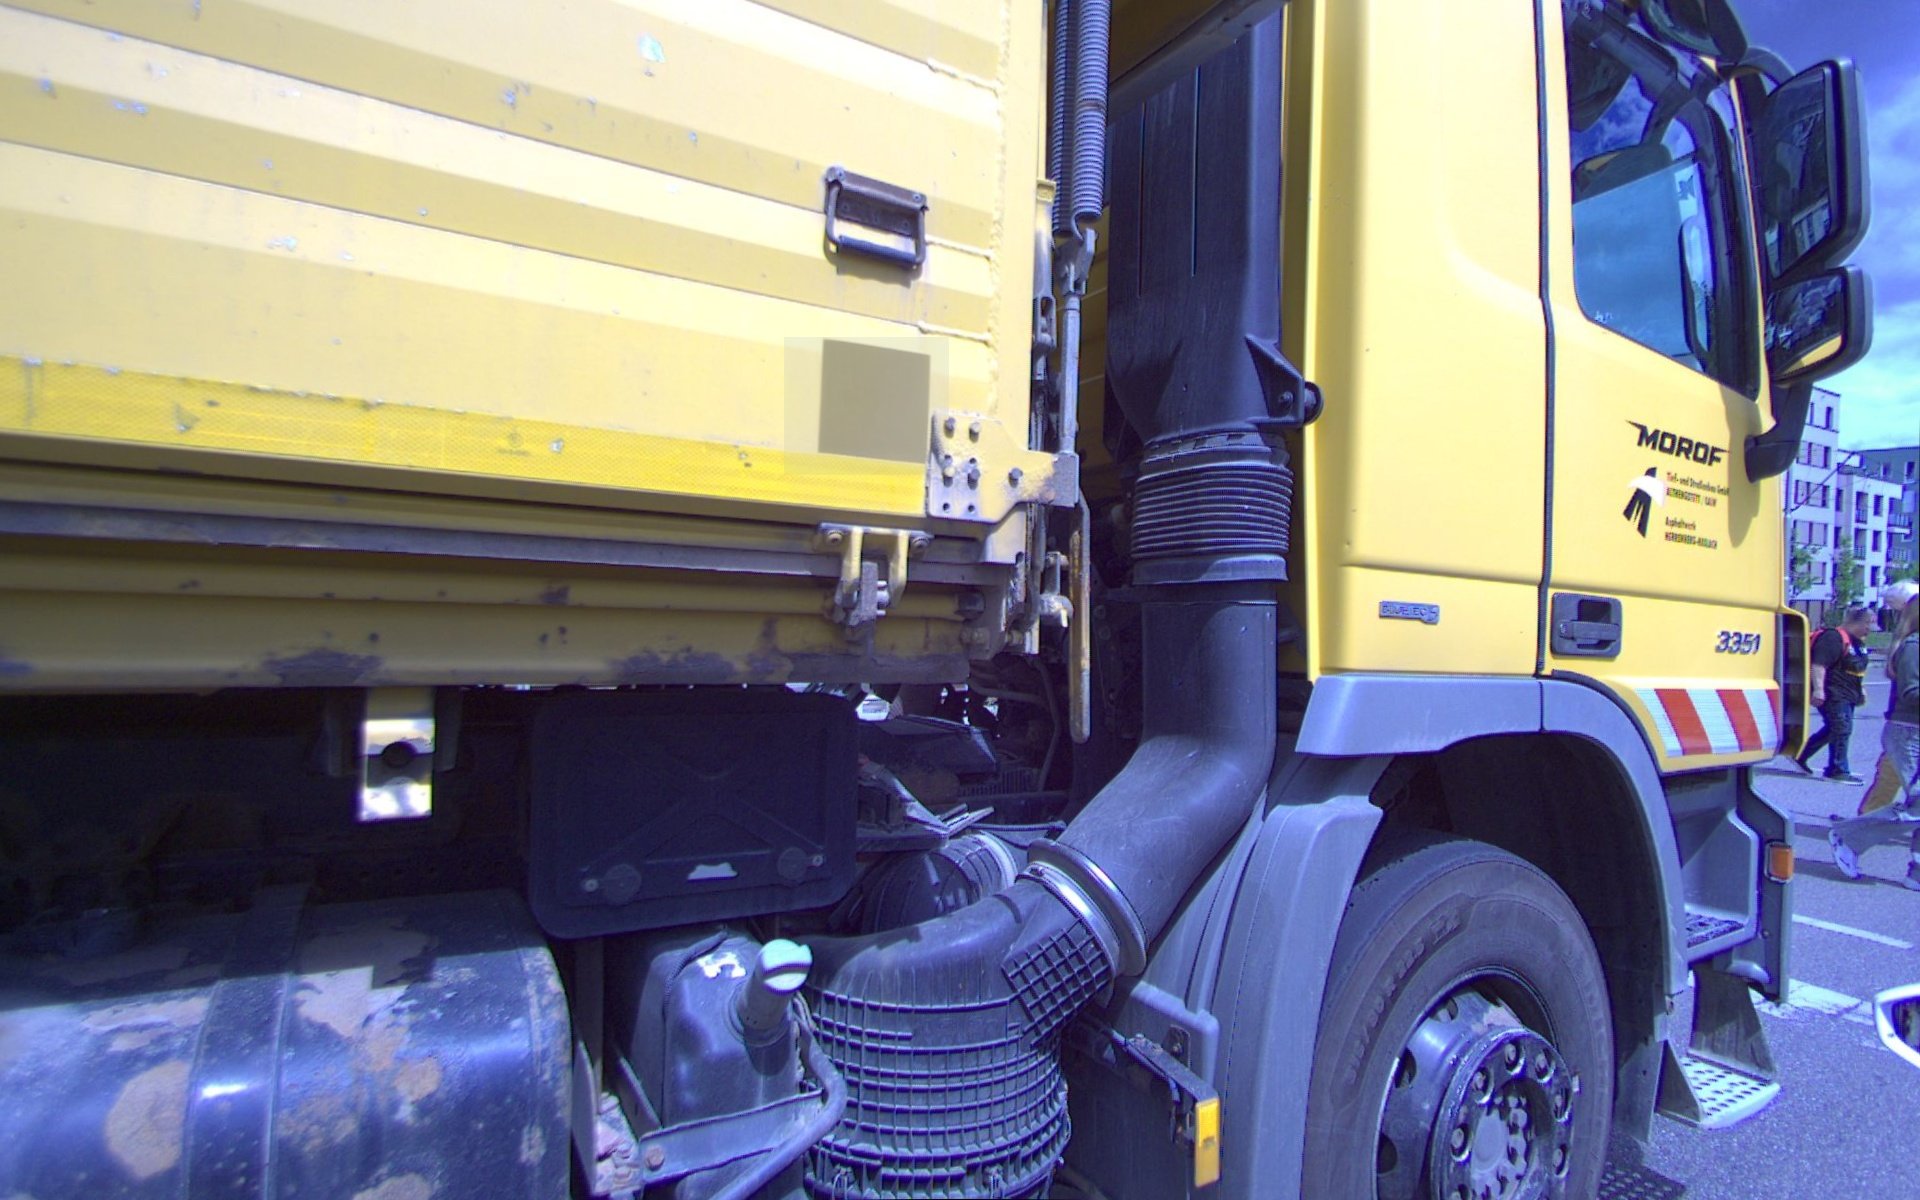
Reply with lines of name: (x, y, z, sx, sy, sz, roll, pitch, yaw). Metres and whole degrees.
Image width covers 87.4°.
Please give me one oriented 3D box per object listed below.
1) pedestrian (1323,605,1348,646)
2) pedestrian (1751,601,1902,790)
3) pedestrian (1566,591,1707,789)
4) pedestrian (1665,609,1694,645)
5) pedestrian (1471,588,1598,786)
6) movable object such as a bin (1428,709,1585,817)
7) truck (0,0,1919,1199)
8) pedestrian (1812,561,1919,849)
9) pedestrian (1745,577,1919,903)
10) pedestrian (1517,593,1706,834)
pedestrian: (16.107, 1.092, 43.085, 0.908, 1.698, 1.100, 1, 0, 23)
pedestrian: (7.983, 0.824, 9.258, 0.900, 1.618, 0.886, 1, 0, -38)
pedestrian: (6.048, 0.759, 8.990, 0.759, 1.656, 0.861, 1, 0, -40)
pedestrian: (31.317, 1.160, 43.733, 0.628, 1.536, 0.827, 1, 0, -30)
pedestrian: (5.146, 0.734, 9.001, 0.814, 1.662, 0.729, 1, 0, 45)
movable object such as a bin: (4.240, 1.237, 7.815, 0.768, 0.671, 0.792, 1, 0, -29)
truck: (-1.742, -0.230, 1.677, 7.916, 3.439, 3.033, 1, 0, -32)
pedestrian: (6.401, 0.665, 6.565, 0.937, 1.797, 1.005, 1, 0, -30)
pedestrian: (5.195, 0.721, 5.584, 0.918, 1.670, 1.016, 1, 0, -28)
pedestrian: (4.622, 0.747, 7.155, 0.737, 1.575, 0.877, 1, 0, -29)
